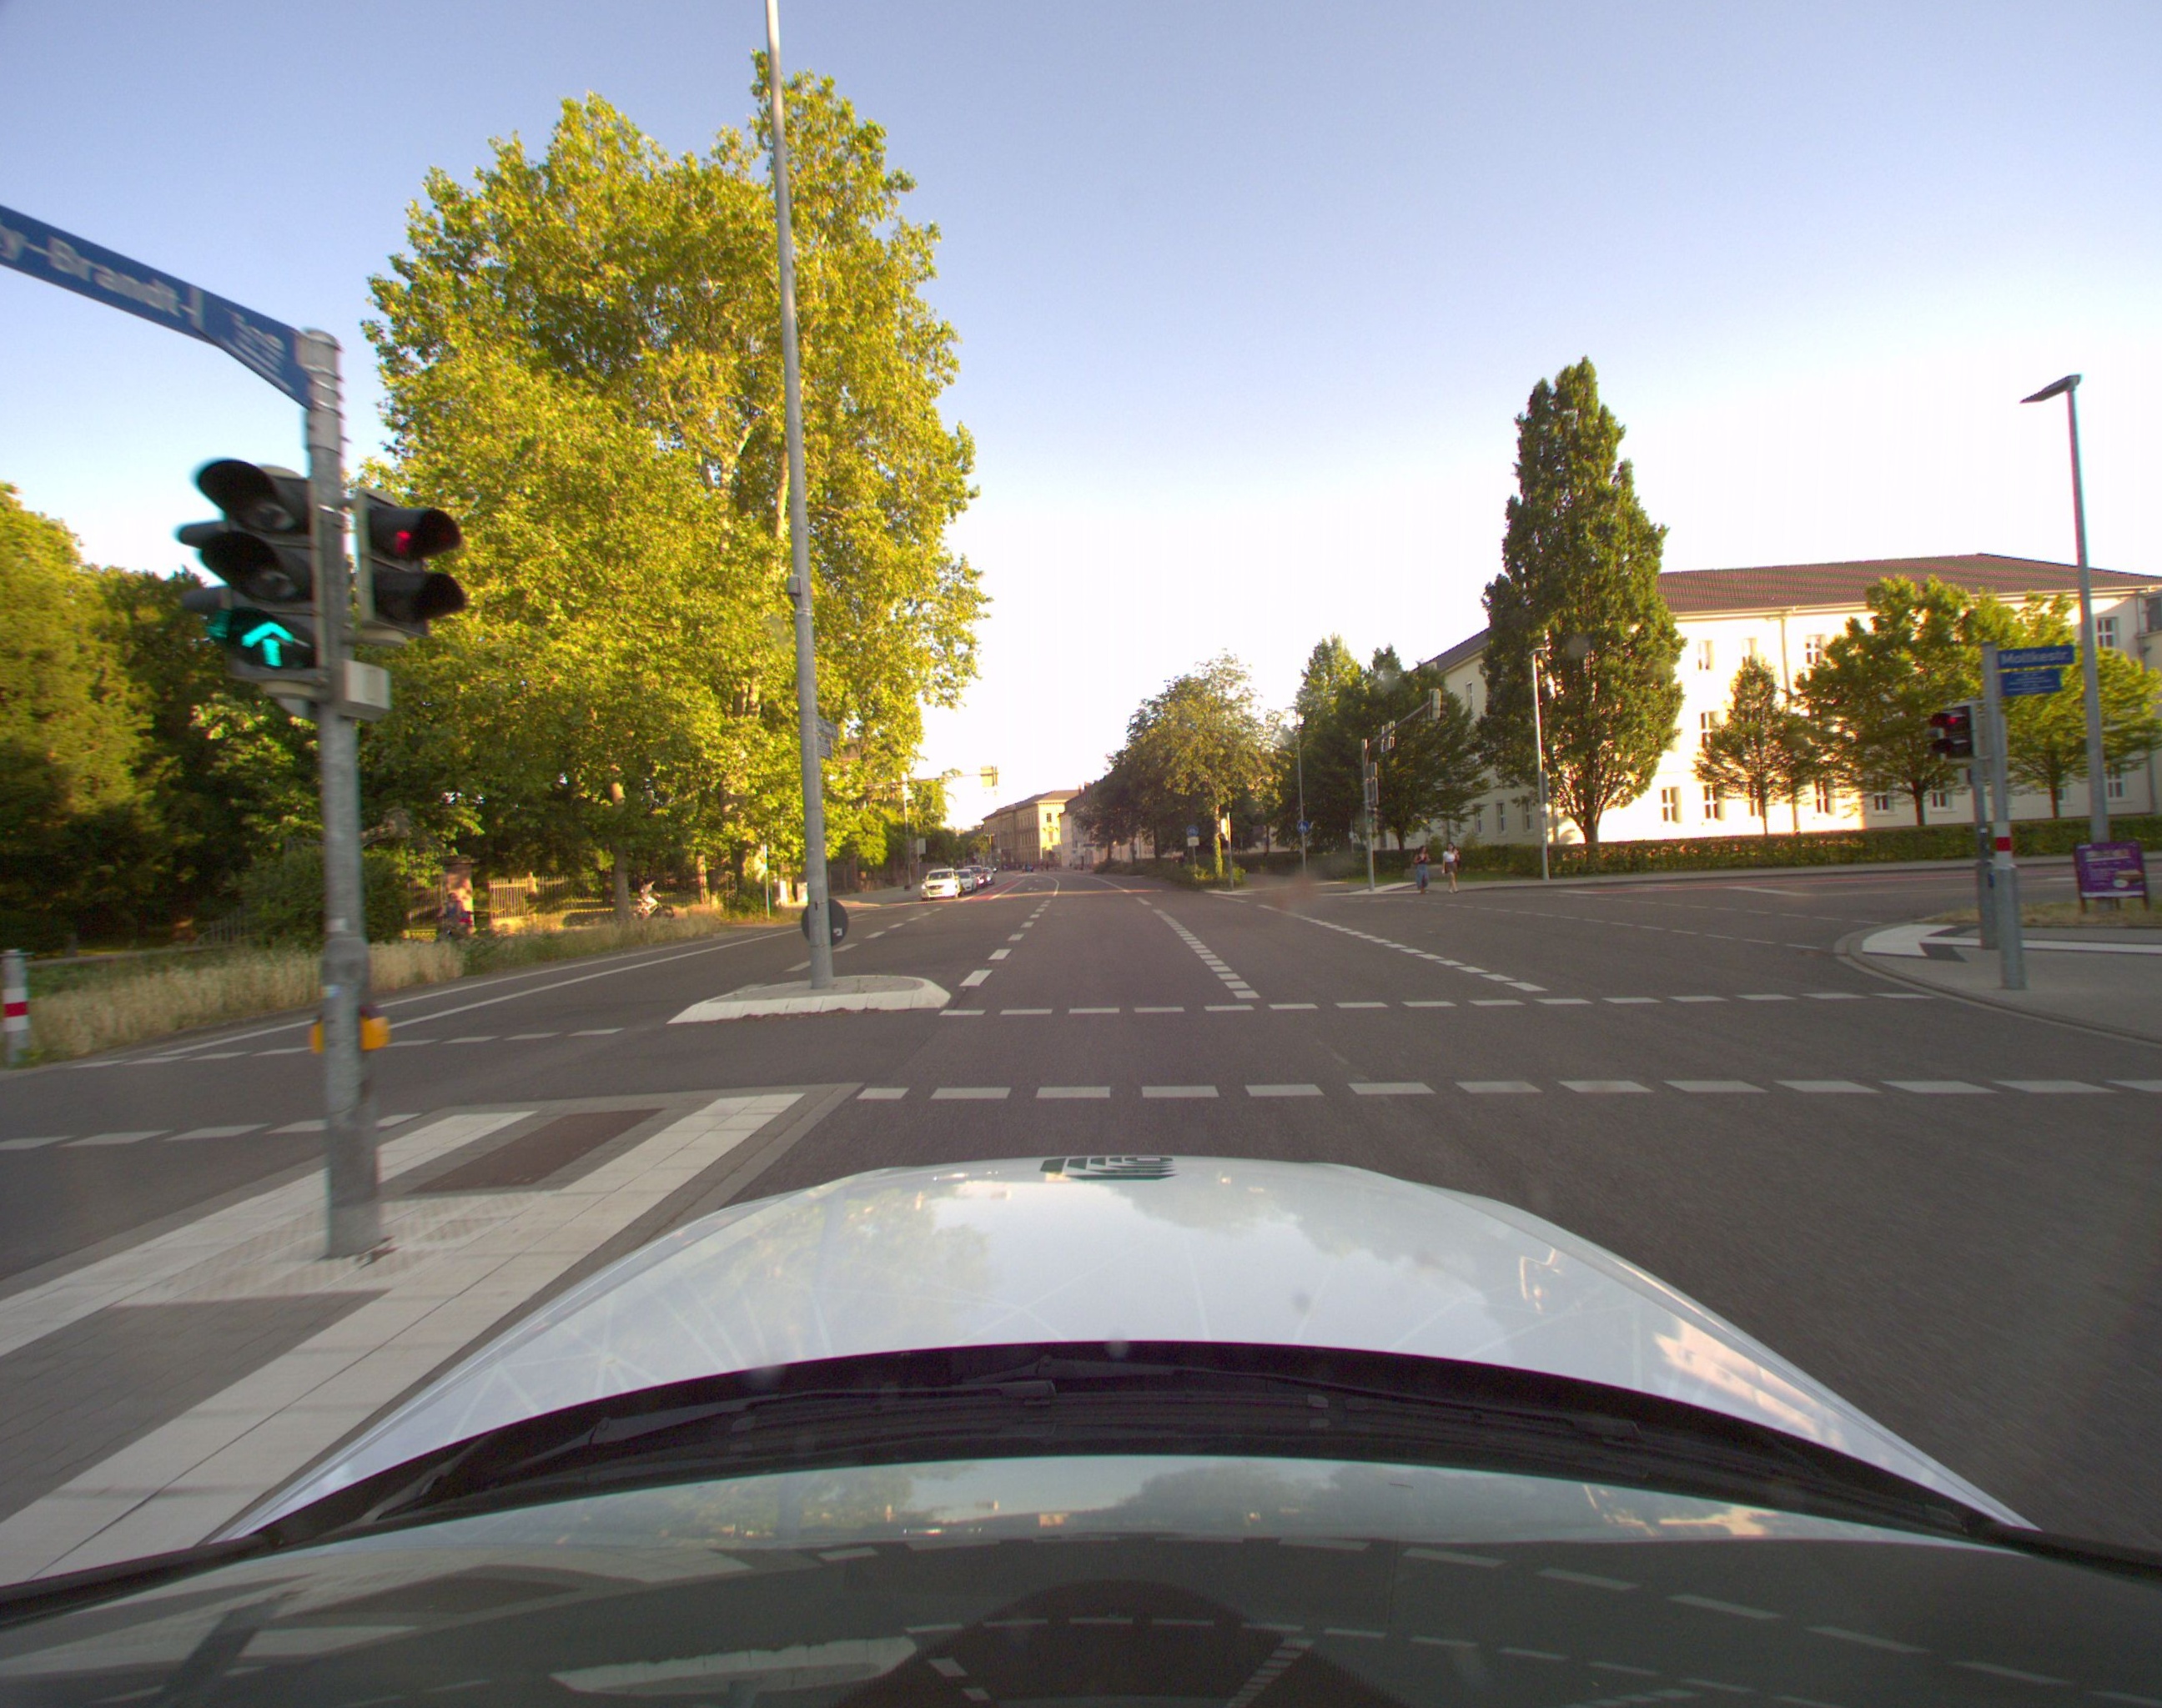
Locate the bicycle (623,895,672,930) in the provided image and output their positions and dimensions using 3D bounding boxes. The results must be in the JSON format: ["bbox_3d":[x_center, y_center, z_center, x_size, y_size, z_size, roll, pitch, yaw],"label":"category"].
[{"bbox_3d":[-17.316,2.328,32.554,1.638,1.229,0.567,-3,-1,-32],"label":"bicycle"}]

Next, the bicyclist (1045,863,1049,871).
[{"bbox_3d":[-5.935,2.245,143.691,0.651,1.475,0.939,0,-1,-5],"label":"bicyclist"}]

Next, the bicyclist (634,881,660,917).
[{"bbox_3d":[-17.356,1.791,32.580,0.842,1.361,0.567,-3,-1,-31],"label":"bicyclist"}]

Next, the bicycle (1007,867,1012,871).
[{"bbox_3d":[-18.300,3.905,207.405,0.655,1.015,2.180,0,-1,-24],"label":"bicycle"}]

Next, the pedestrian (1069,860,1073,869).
[{"bbox_3d":[-2.013,2.088,160.629,0.760,1.755,0.844,-2,-1,-1],"label":"pedestrian"}]

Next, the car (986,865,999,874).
[{"bbox_3d":[-16.680,2.988,153.583,1.850,1.526,3.982,-4,0,-13],"label":"car"}]

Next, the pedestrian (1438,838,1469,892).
[{"bbox_3d":[12.574,0.366,27.511,0.678,1.754,0.689,-3,0,1],"label":"pedestrian"}]

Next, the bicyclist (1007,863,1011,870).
[{"bbox_3d":[-18.287,3.190,207.387,0.655,1.698,0.949,0,-1,-24],"label":"bicyclist"}]

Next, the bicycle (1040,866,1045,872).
[{"bbox_3d":[-6.803,2.696,143.507,0.651,1.015,2.193,0,-1,-6],"label":"bicycle"}]

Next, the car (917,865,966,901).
[{"bbox_3d":[-7.486,1.515,44.021,1.912,1.695,4.422,-5,0,-2],"label":"car"}]

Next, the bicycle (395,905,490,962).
[{"bbox_3d":[-16.414,2.013,21.008,0.786,1.256,1.980,-3,-1,1],"label":"bicycle"}]

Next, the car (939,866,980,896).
[{"bbox_3d":[-7.485,1.625,50.625,1.912,1.583,4.669,-5,0,-2],"label":"car"}]

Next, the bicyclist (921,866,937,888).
[{"bbox_3d":[-10.539,1.581,56.644,0.852,1.431,0.944,-3,-1,2],"label":"bicyclist"}]

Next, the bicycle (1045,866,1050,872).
[{"bbox_3d":[-5.930,2.568,143.683,0.651,1.015,2.193,0,-1,-5],"label":"bicycle"}]

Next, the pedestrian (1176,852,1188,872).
[{"bbox_3d":[9.010,0.752,72.446,0.769,1.739,0.805,-3,-1,-8],"label":"pedestrian"}]

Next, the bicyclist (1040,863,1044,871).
[{"bbox_3d":[-6.801,2.266,143.496,0.651,1.446,0.877,0,-1,-6],"label":"bicyclist"}]

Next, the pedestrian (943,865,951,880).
[{"bbox_3d":[-14.962,2.013,90.867,0.678,1.622,0.689,-3,-1,1],"label":"pedestrian"}]

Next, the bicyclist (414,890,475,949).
[{"bbox_3d":[-16.429,1.670,21.036,0.786,1.427,0.892,-3,-1,1],"label":"bicyclist"}]

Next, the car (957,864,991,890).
[{"bbox_3d":[-7.717,1.610,59.063,1.912,1.624,4.634,-5,0,-2],"label":"car"}]

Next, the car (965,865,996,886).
[{"bbox_3d":[-8.049,1.723,65.578,1.912,1.418,4.765,-5,0,-2],"label":"car"}]

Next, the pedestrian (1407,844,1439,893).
[{"bbox_3d":[11.745,0.491,27.967,0.678,1.622,0.845,-3,0,1],"label":"pedestrian"}]

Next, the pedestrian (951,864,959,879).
[{"bbox_3d":[-14.102,1.986,90.974,0.678,1.622,0.688,-3,-1,0],"label":"pedestrian"}]
